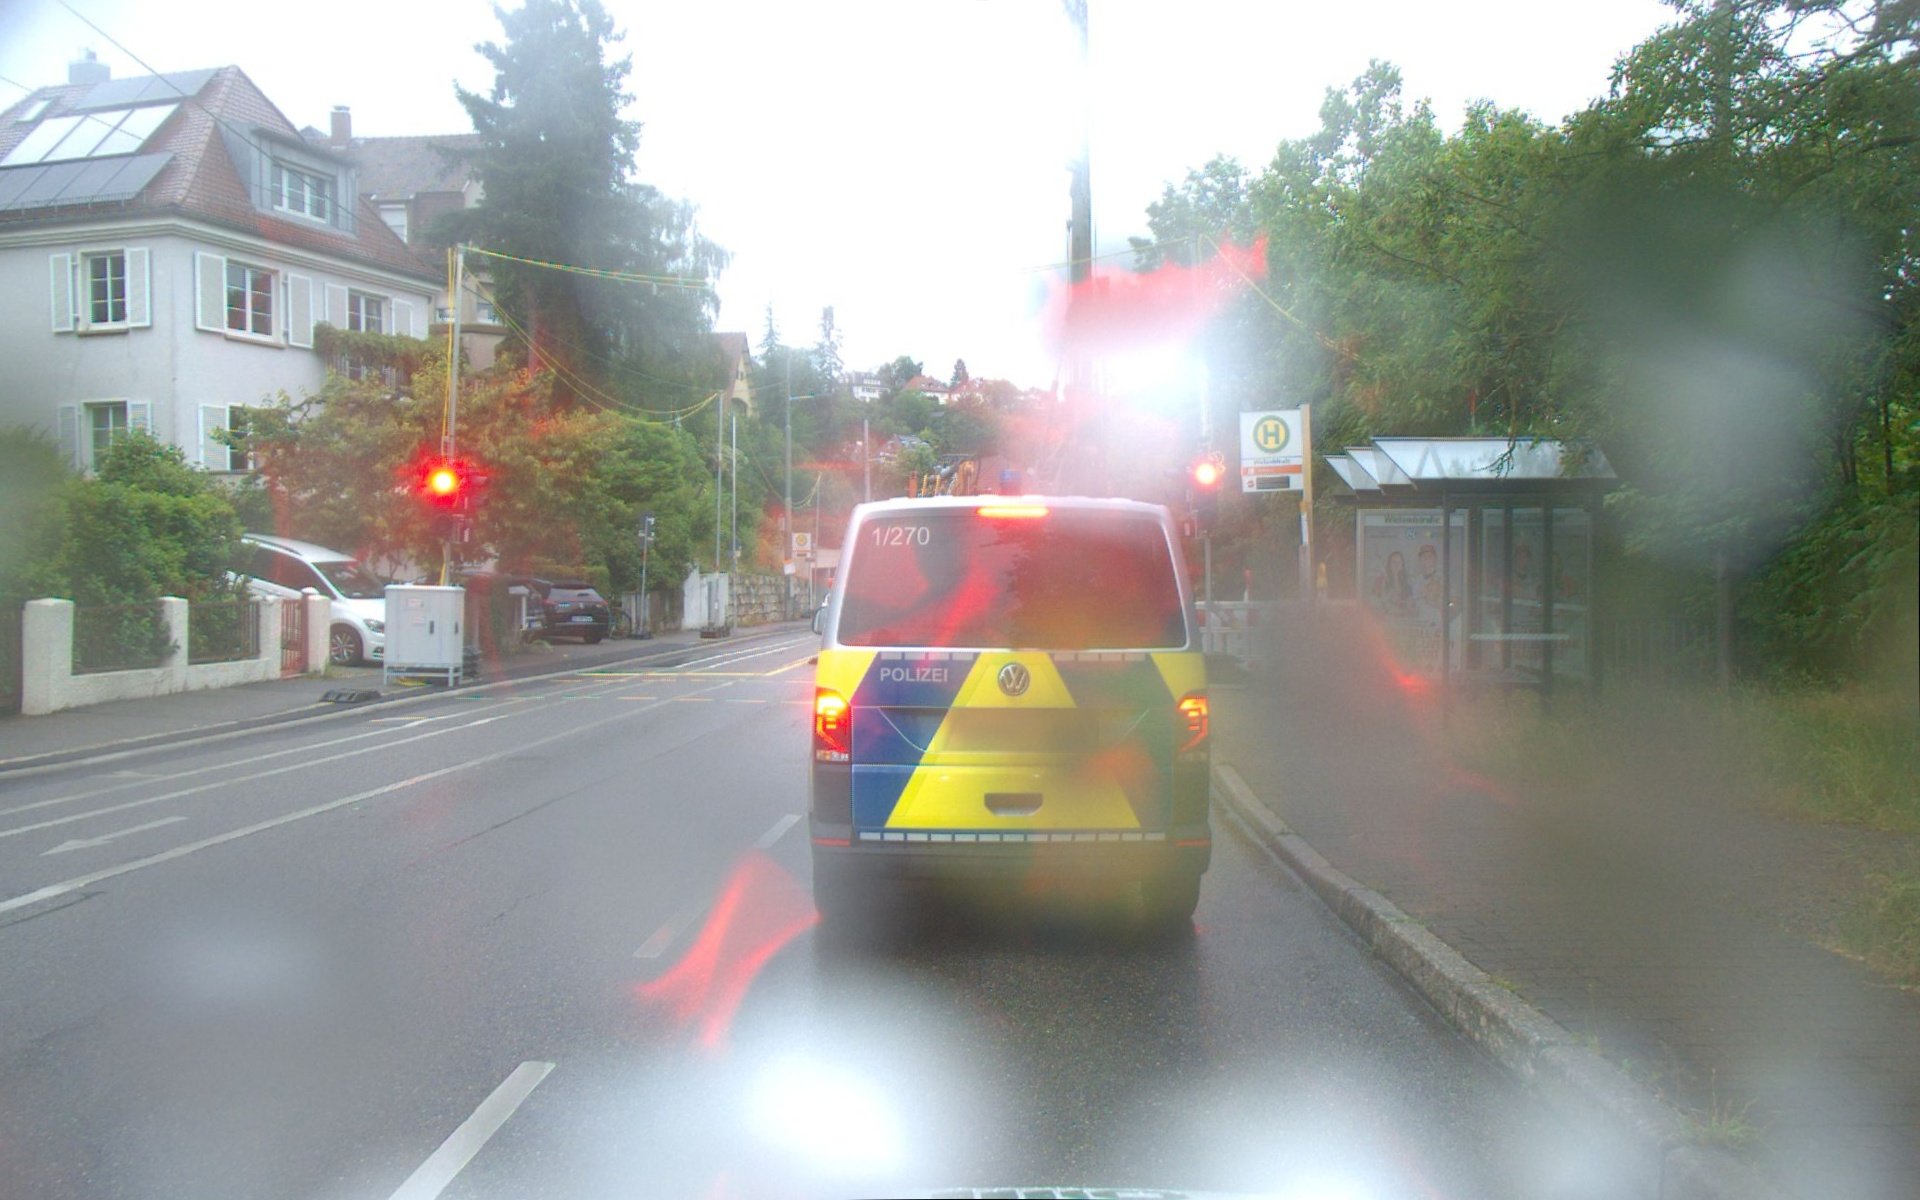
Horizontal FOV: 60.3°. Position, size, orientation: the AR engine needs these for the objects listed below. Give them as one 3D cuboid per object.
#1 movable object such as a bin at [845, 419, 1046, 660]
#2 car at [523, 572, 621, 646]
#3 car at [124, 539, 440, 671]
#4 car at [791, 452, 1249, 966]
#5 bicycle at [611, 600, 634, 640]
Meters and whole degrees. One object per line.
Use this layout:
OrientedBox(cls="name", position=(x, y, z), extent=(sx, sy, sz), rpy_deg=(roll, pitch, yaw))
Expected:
OrientedBox(cls="movable object such as a bin", position=(-0.170, -1.090, 31.632), extent=(2.770, 4.250, 4.384), rpy_deg=(1, 0, 14))
OrientedBox(cls="car", position=(-8.915, 0.180, 37.821), extent=(1.739, 1.512, 3.721), rpy_deg=(1, 2, -20))
OrientedBox(cls="car", position=(-11.213, 0.059, 27.483), extent=(4.532, 2.042, 1.902), rpy_deg=(1, 0, 11))
OrientedBox(cls="car", position=(0.223, 0.438, 8.814), extent=(1.855, 2.086, 3.999), rpy_deg=(1, 0, -1))
OrientedBox(cls="bicycle", position=(-8.058, 0.471, 39.447), extent=(0.455, 0.913, 1.628), rpy_deg=(0, 0, -15))
